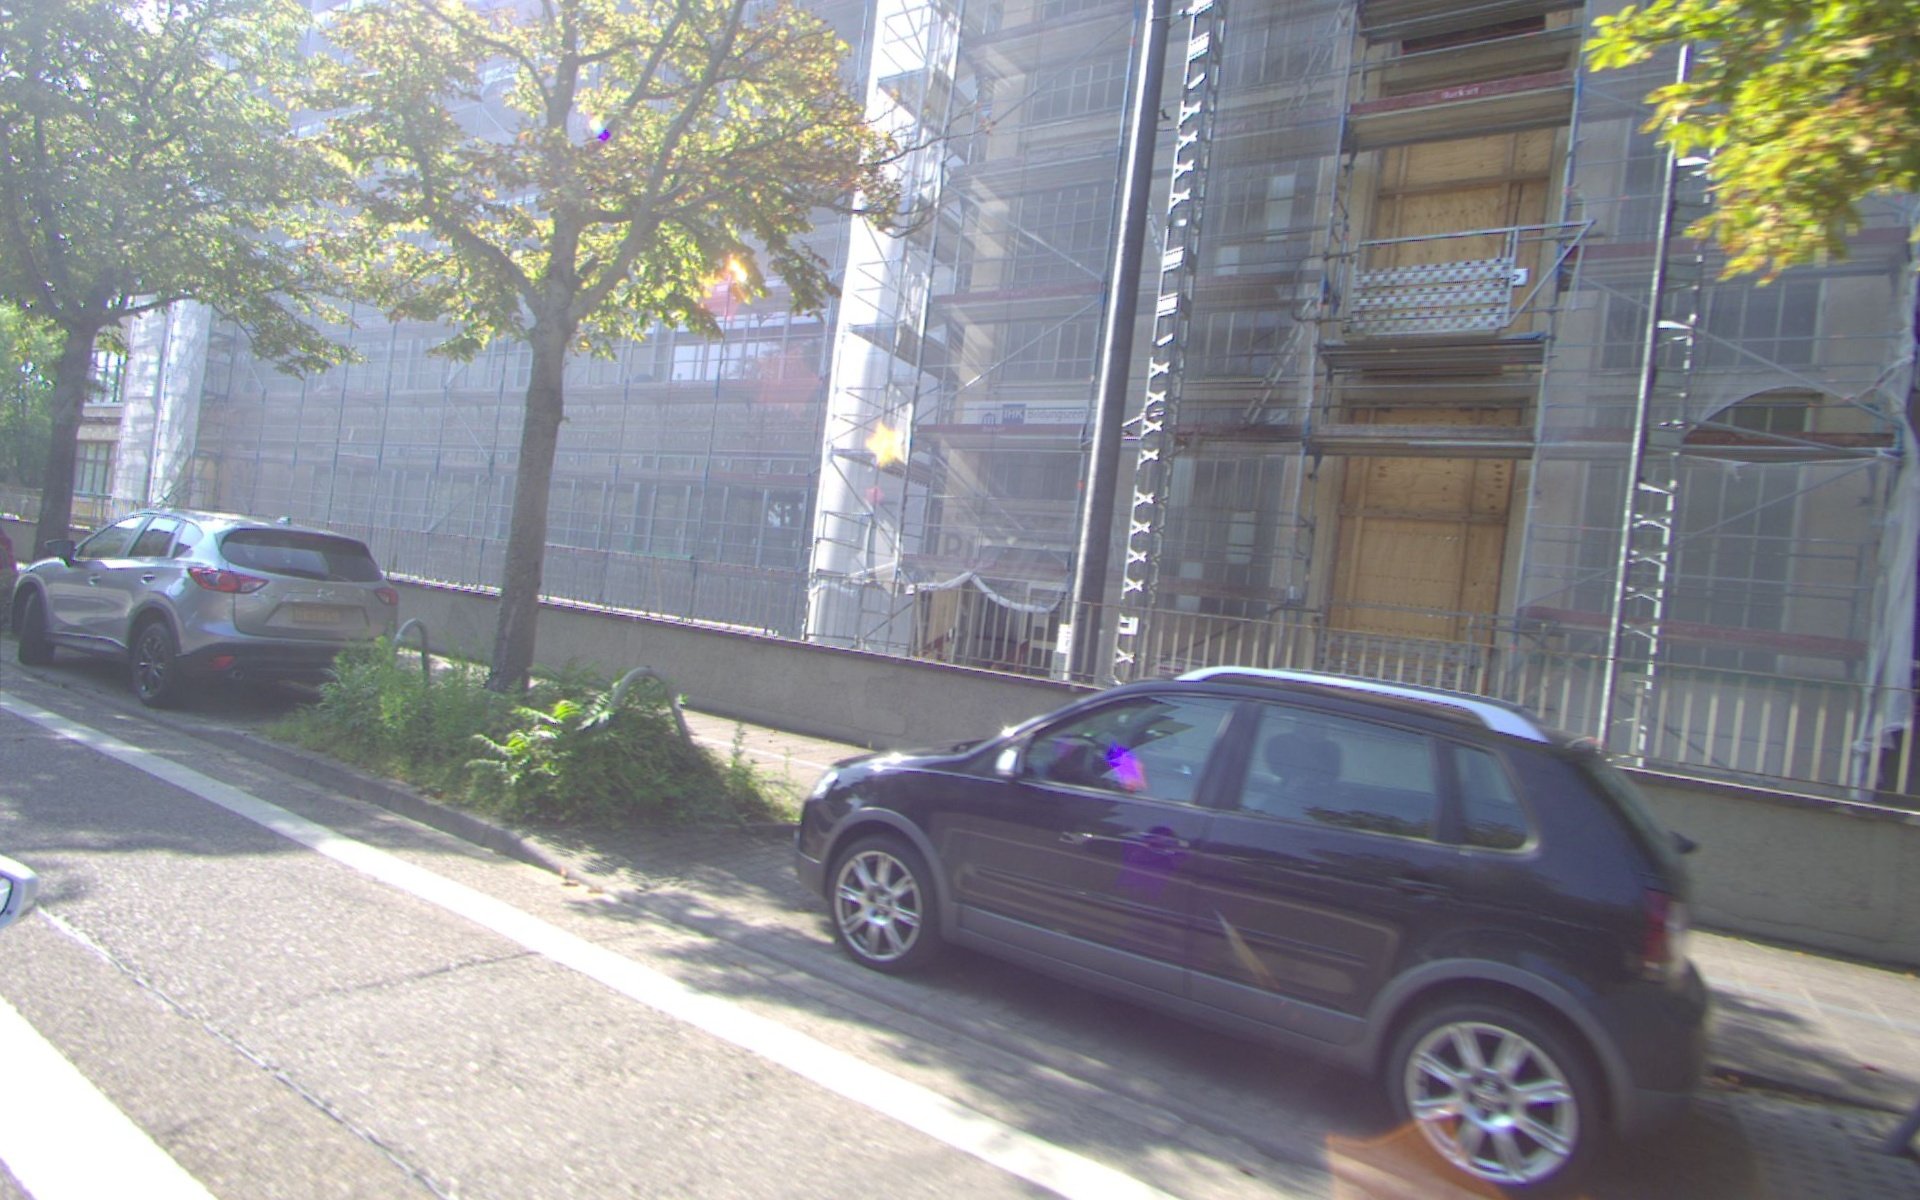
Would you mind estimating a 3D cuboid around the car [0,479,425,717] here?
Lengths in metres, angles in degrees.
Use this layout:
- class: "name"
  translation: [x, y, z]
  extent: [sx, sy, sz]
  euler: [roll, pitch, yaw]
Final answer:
- class: "car"
  translation: [-7.382, -0.066, 9.705]
  extent: [4.322, 1.711, 1.757]
  euler: [6, -1, 30]

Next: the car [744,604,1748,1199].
- class: "car"
  translation: [1.009, 1.013, 4.503]
  extent: [3.677, 1.502, 1.578]
  euler: [6, -2, 32]

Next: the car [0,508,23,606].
- class: "car"
  translation: [-16.097, -0.863, 15.344]
  extent: [3.934, 1.431, 1.618]
  euler: [6, 0, 32]
